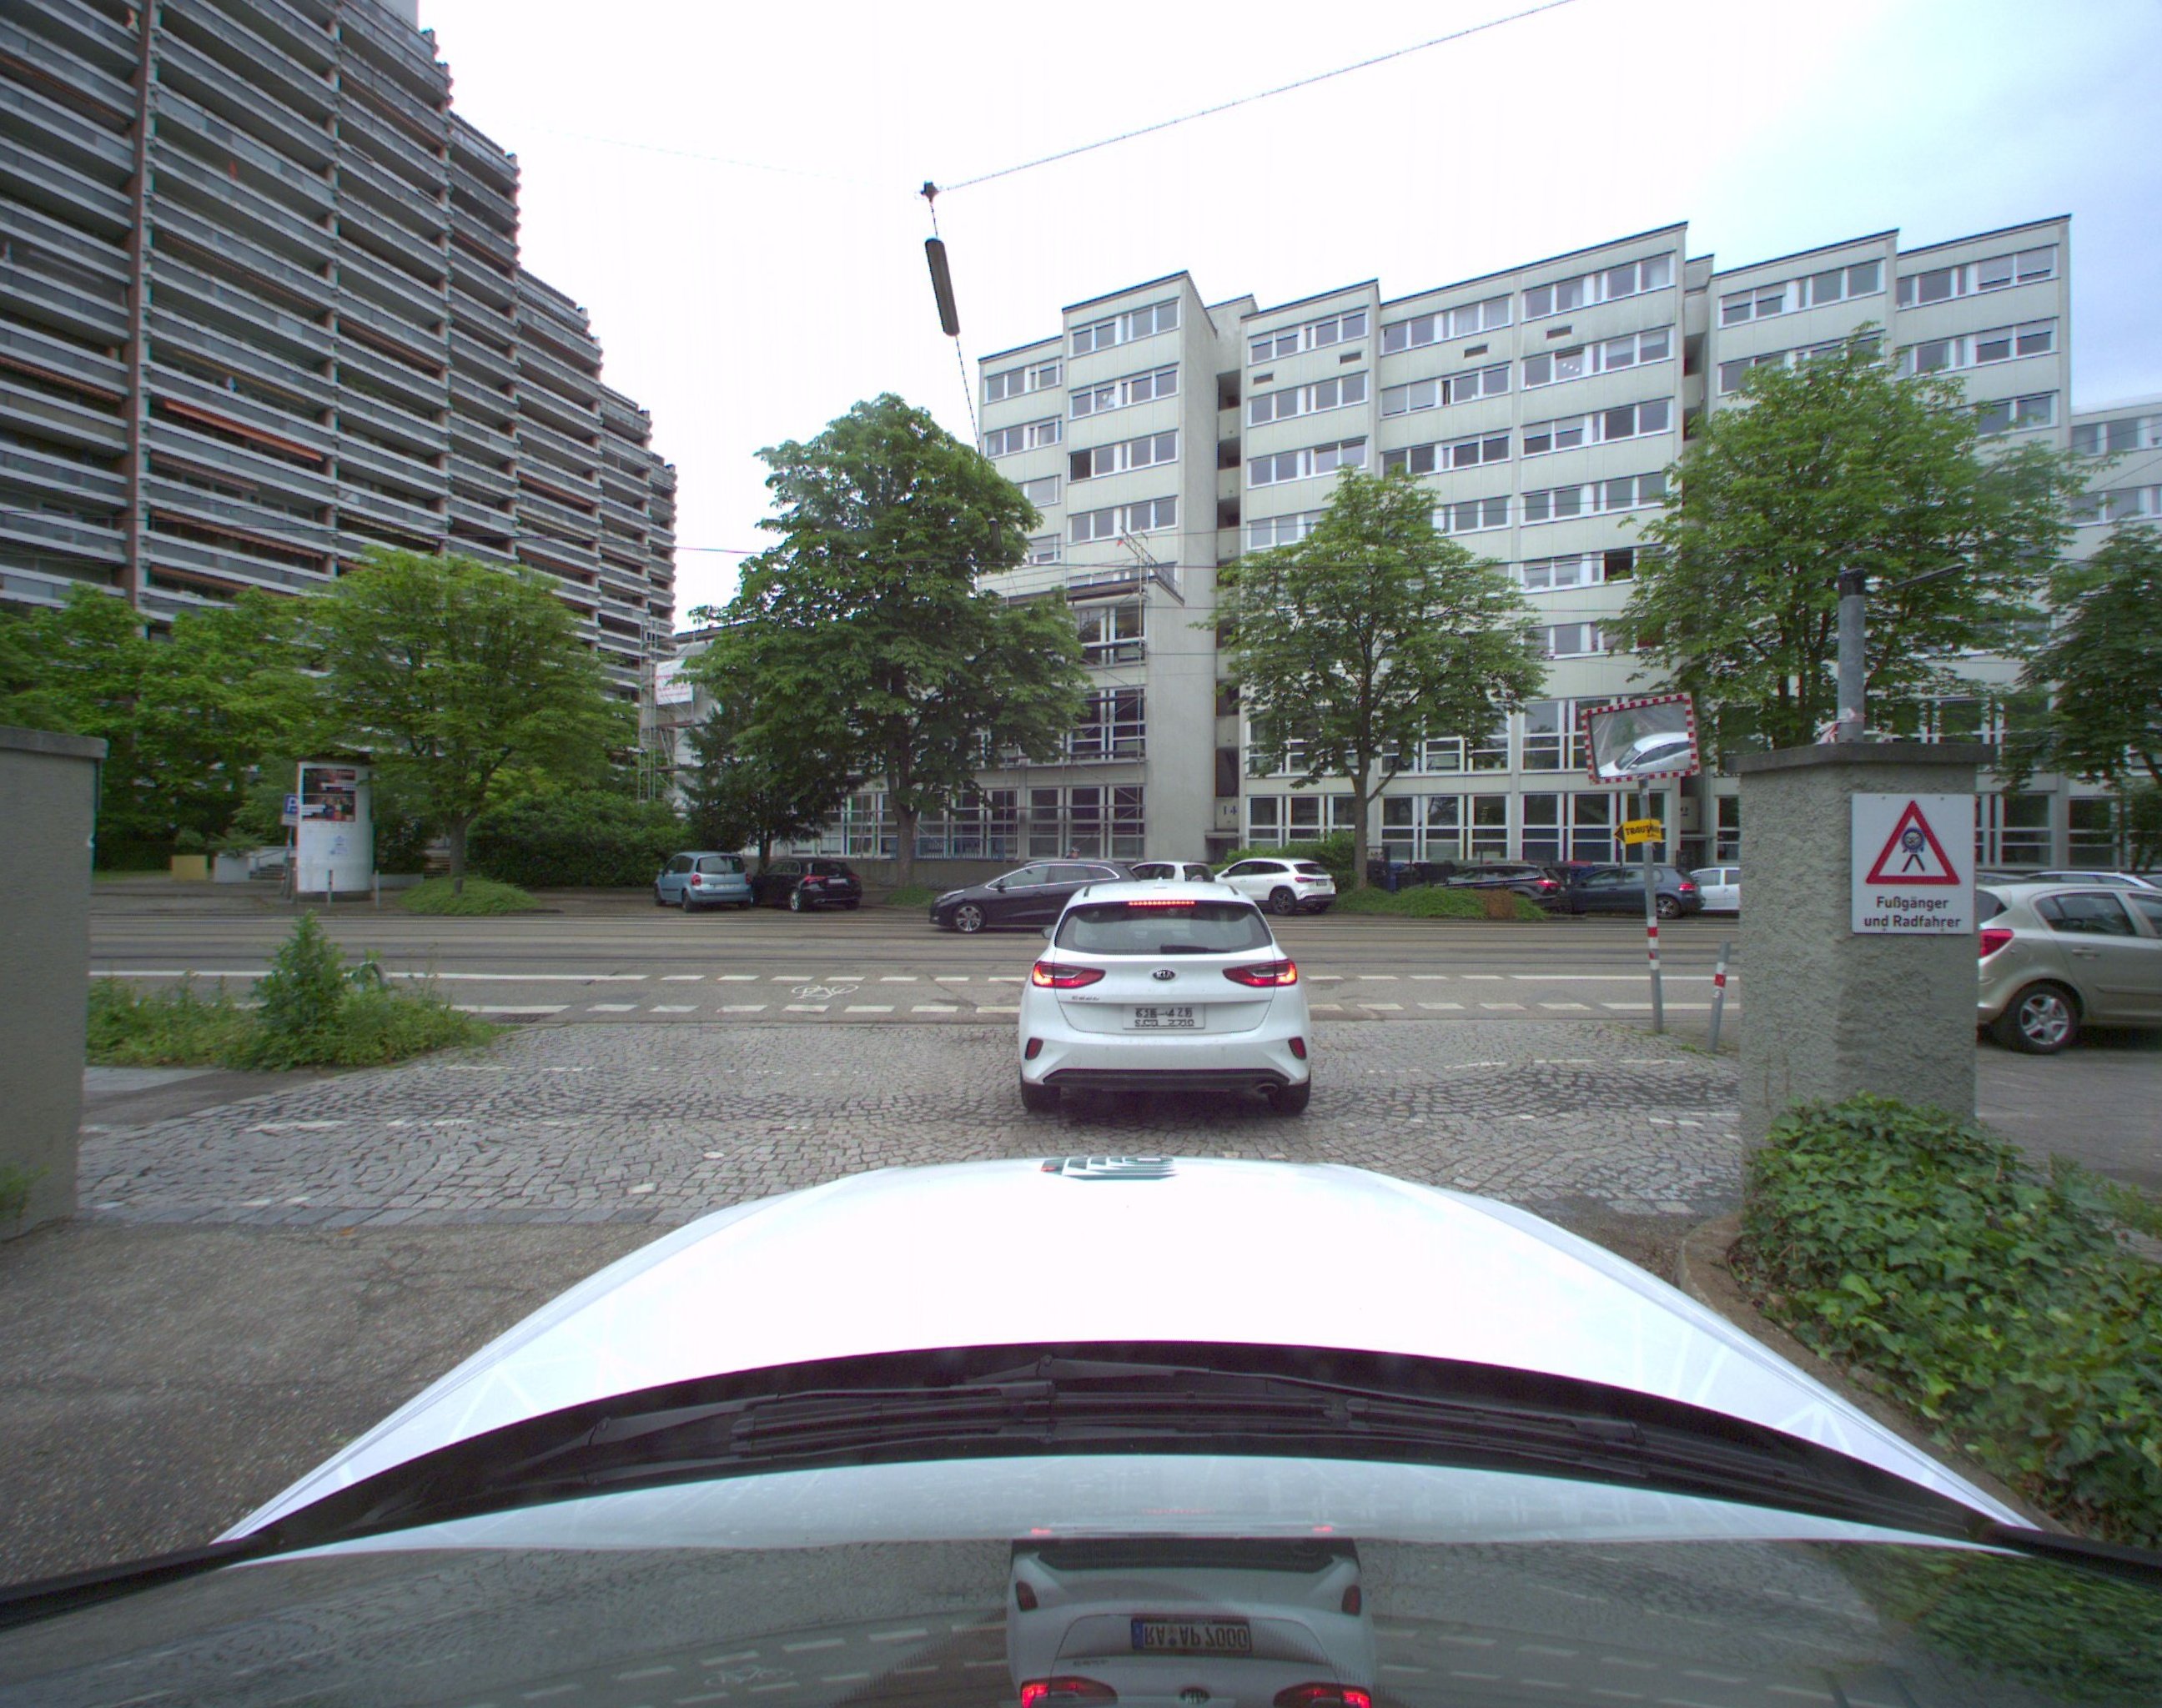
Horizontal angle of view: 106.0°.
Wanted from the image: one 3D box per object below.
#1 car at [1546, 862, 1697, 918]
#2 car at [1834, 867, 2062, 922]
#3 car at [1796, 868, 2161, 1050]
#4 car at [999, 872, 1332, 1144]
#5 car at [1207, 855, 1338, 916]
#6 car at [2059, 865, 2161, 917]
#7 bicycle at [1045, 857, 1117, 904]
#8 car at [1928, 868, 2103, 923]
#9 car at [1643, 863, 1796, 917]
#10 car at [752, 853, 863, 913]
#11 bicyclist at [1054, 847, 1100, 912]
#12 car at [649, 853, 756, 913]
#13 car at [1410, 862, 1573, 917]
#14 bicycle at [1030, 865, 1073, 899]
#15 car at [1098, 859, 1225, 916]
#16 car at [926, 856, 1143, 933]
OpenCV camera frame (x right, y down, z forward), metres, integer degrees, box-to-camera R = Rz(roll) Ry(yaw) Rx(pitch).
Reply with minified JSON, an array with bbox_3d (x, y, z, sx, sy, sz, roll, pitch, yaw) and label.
[{"bbox_3d":[15.350,0.982,23.238,1.425,1.474,3.348,0,-1,-44],"label":"car"},{"bbox_3d":[25.142,1.137,23.897,4.441,1.474,1.425,-1,-3,42],"label":"car"},{"bbox_3d":[9.264,0.905,7.704,3.570,1.501,1.665,0,0,0],"label":"car"},{"bbox_3d":[0.614,0.872,6.357,1.767,1.433,3.984,-1,-2,5],"label":"car"},{"bbox_3d":[5.419,0.848,23.312,1.565,1.618,3.367,0,-1,-42],"label":"car"},{"bbox_3d":[31.503,1.075,23.959,1.425,1.474,3.348,0,0,-44],"label":"car"},{"bbox_3d":[-0.007,0.681,21.556,0.826,1.174,1.892,1,0,-43],"label":"bicycle"},{"bbox_3d":[27.872,1.188,24.442,1.425,1.474,3.348,1,0,-44],"label":"car"},{"bbox_3d":[18.544,0.997,23.729,1.425,1.474,3.348,0,-1,-44],"label":"car"},{"bbox_3d":[-7.597,0.757,22.497,1.628,1.511,3.295,0,-1,-45],"label":"car"},{"bbox_3d":[-0.107,0.663,21.667,0.839,1.698,0.886,1,-1,-43],"label":"bicyclist"},{"bbox_3d":[-10.495,0.751,22.496,1.628,1.537,3.296,1,0,-45],"label":"car"},{"bbox_3d":[11.883,0.973,23.710,3.904,1.474,1.684,-1,-1,42],"label":"car"},{"bbox_3d":[-1.039,0.979,29.539,0.638,1.074,2.325,0,2,22],"label":"bicycle"},{"bbox_3d":[2.201,0.896,22.898,1.565,1.473,3.367,0,-1,-42],"label":"car"},{"bbox_3d":[-0.923,0.793,16.871,4.230,1.490,1.822,0,0,-2],"label":"car"}]
